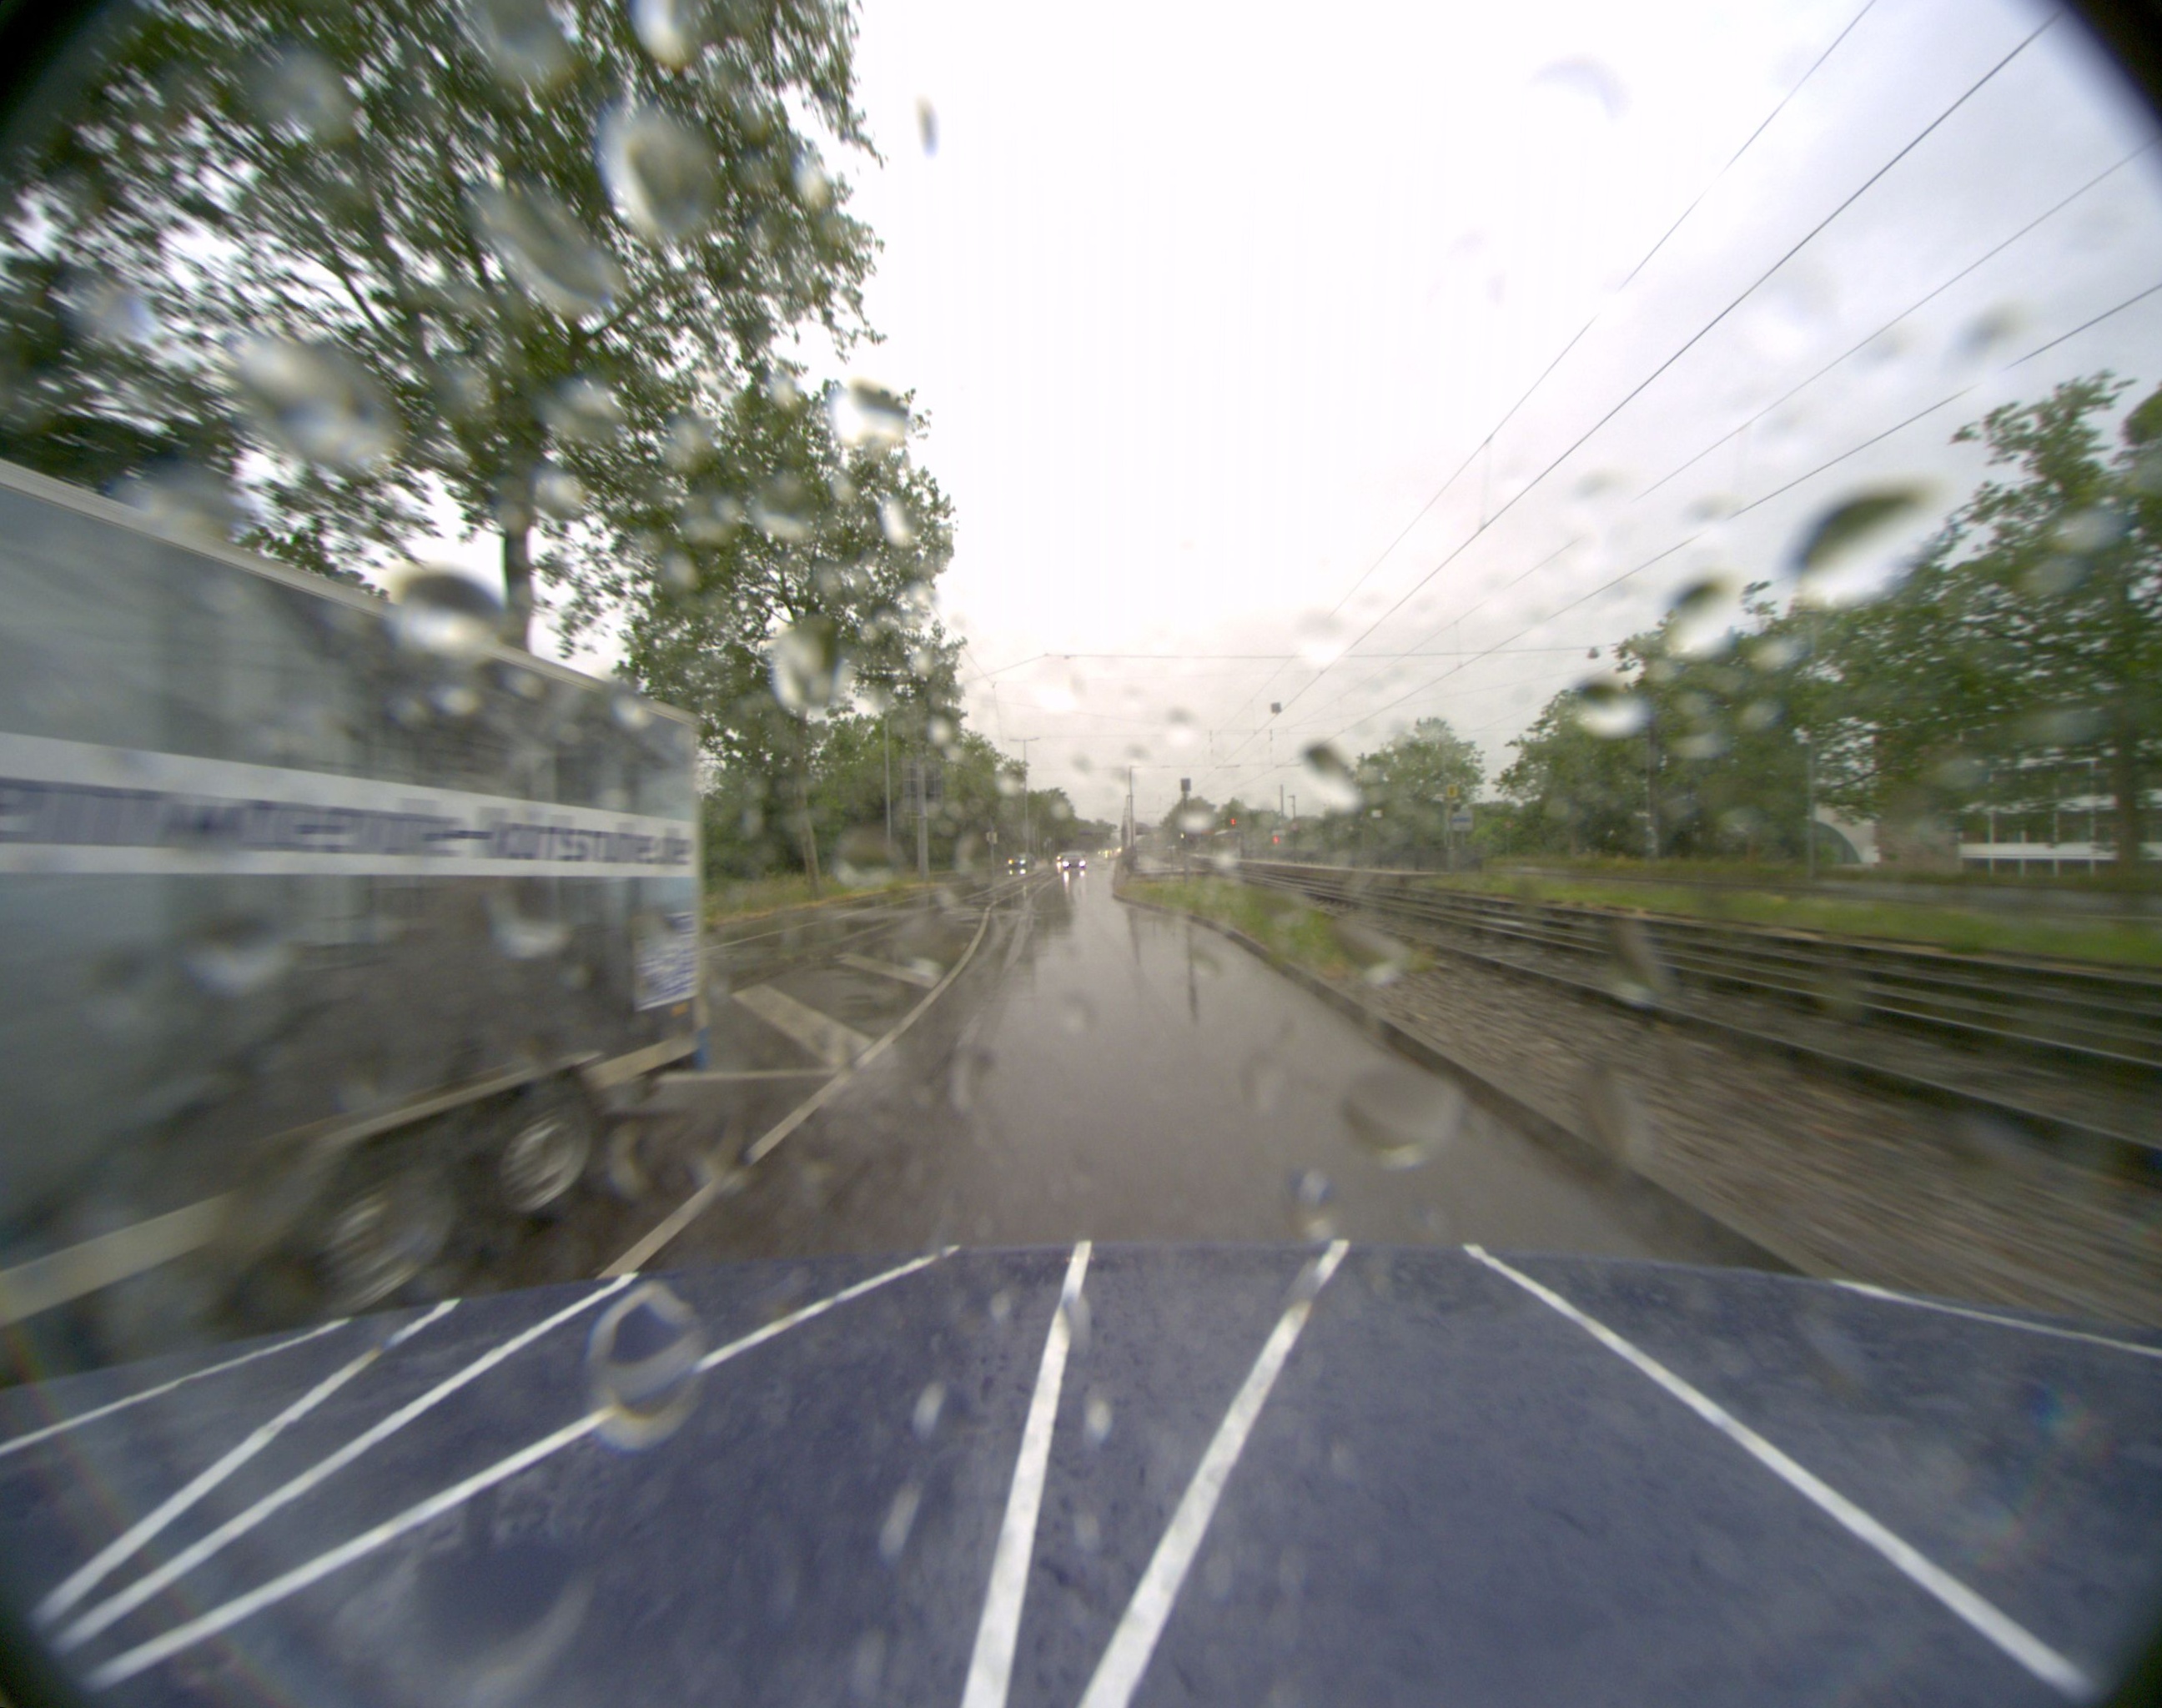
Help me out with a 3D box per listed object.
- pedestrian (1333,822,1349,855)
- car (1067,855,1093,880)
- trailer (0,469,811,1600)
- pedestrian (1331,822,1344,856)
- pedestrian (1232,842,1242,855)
[{"bbox_3d":[31.969,-1.885,93.474,1.172,4.006,1.518,-2,2,-8],"label":"pedestrian"},{"bbox_3d":[-0.074,1.168,67.990,1.998,2.002,4.000,-2,1,4],"label":"car"},{"bbox_3d":[-3.593,0.419,3.491,2.170,2.742,5.677,-2,1,5],"label":"trailer"},{"bbox_3d":[30.574,-1.771,90.556,1.169,4.006,1.522,-1,2,31],"label":"pedestrian"},{"bbox_3d":[15.906,-0.585,77.491,0.833,1.309,0.858,-3,1,3],"label":"pedestrian"}]
